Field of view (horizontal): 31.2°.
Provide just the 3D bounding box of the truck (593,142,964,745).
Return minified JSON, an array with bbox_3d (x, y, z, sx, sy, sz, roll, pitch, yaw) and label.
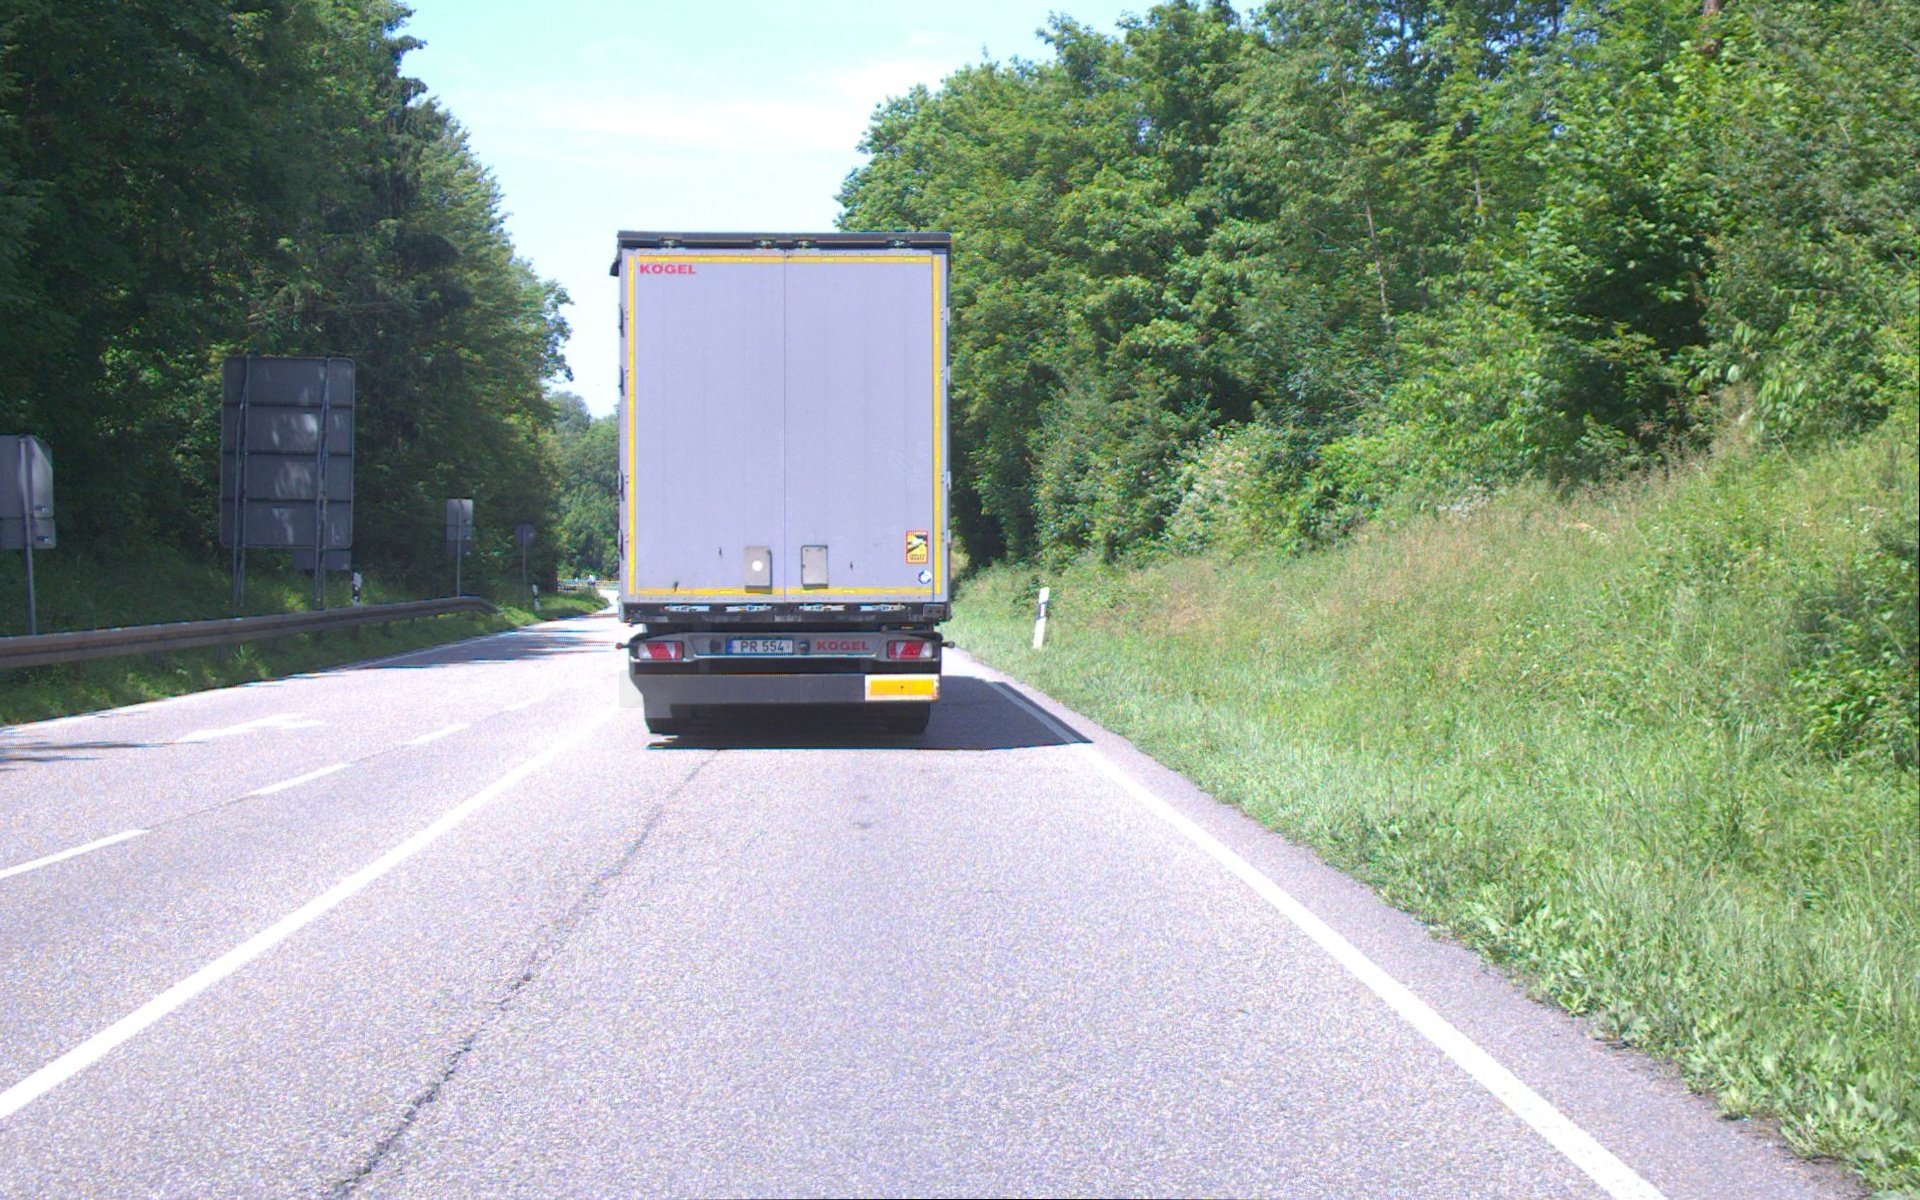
[{"bbox_3d":[-1.419,-1.300,29.514,2.822,4.587,6.666,0,2,-1],"label":"truck"}]
